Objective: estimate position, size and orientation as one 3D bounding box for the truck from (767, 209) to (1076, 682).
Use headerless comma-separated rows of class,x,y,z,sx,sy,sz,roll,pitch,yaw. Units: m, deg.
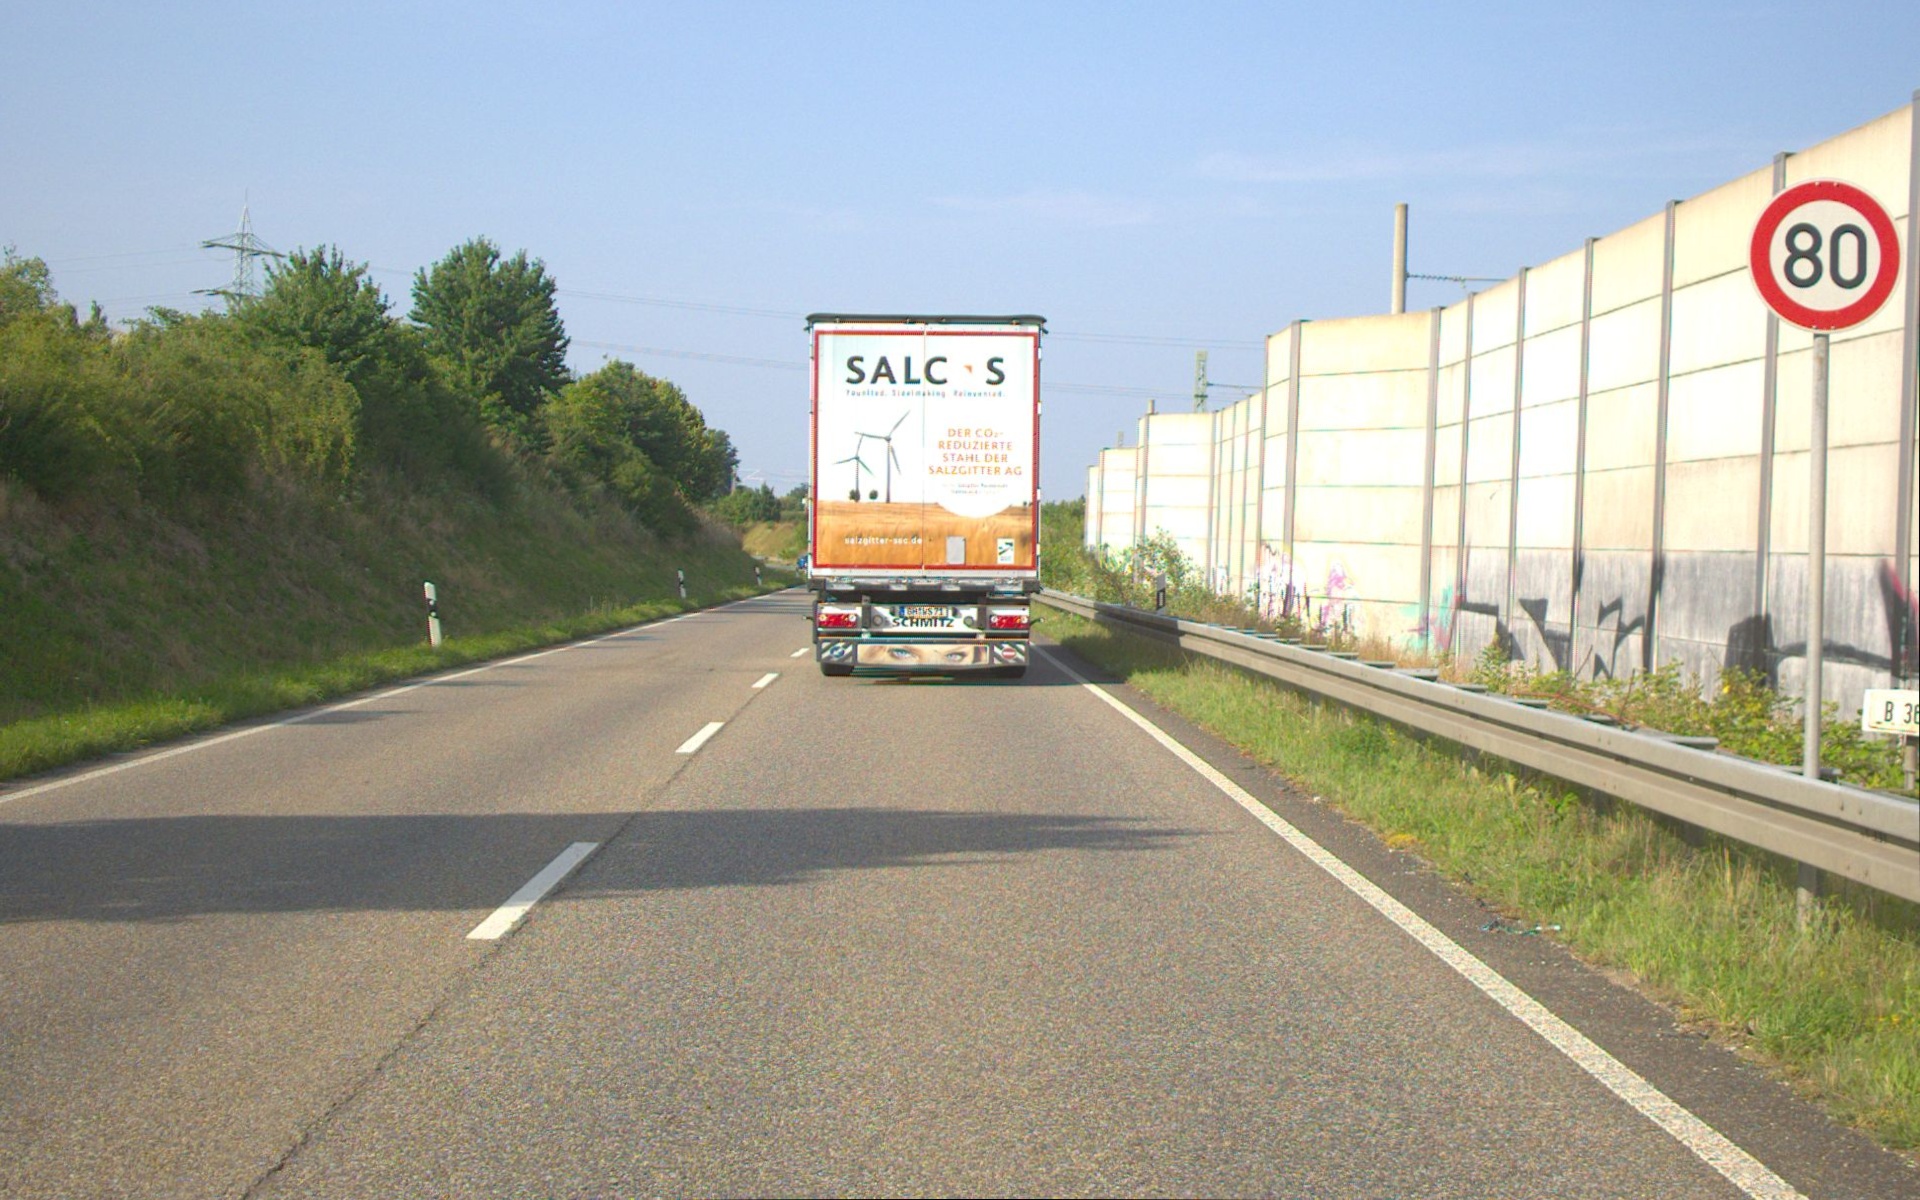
truck,-0.667,-1.820,43.269,3.290,5.072,12.039,1,1,-2
